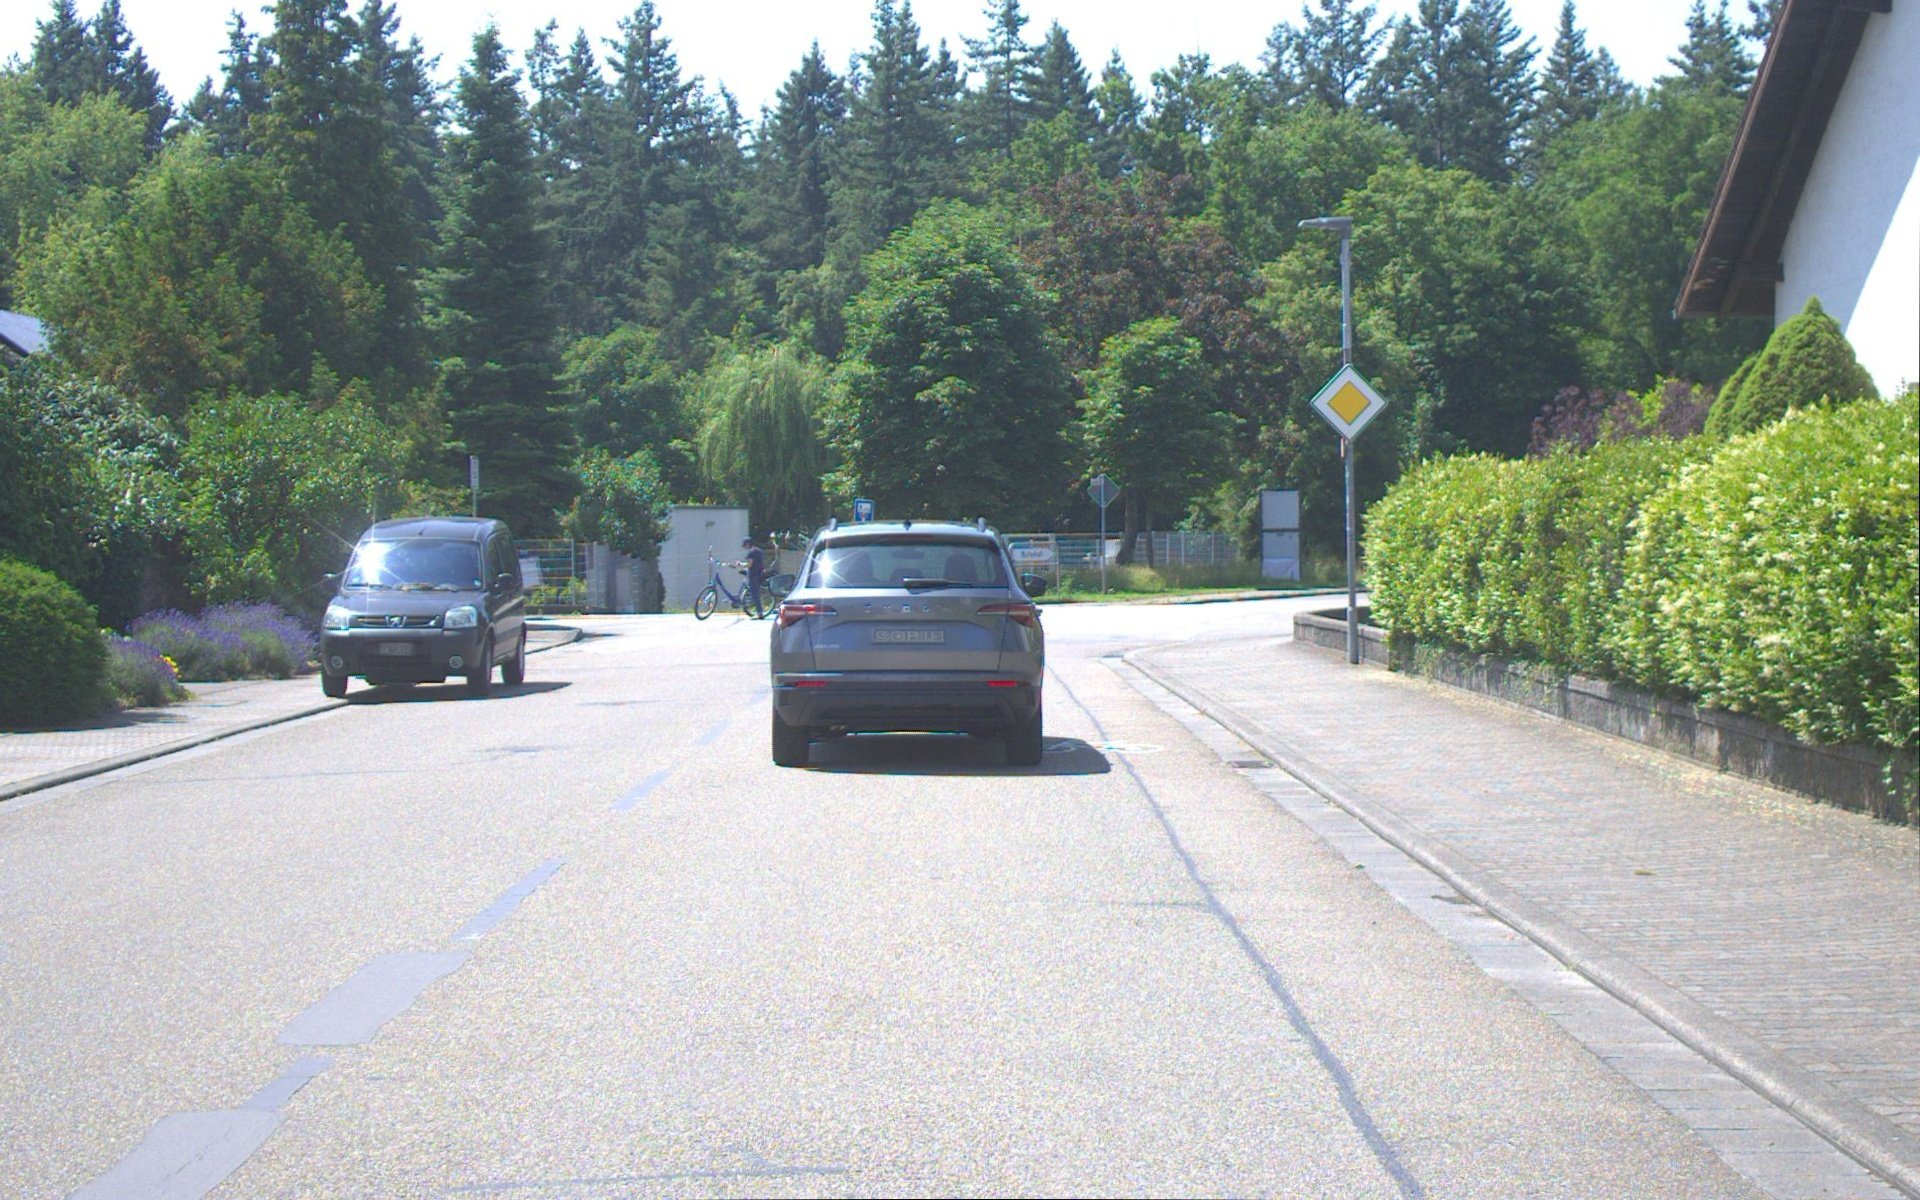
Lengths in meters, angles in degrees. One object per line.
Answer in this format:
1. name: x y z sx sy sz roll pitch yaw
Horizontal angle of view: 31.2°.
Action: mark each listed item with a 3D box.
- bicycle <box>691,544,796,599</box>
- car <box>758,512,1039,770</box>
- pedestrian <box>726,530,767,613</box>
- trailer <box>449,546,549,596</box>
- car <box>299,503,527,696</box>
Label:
1. bicycle: -3.974 -0.532 63.136 1.842 0.960 0.443 -2 1 -18
2. car: -0.422 0.217 23.620 1.762 1.612 4.000 0 1 -1
3. pedestrian: -3.903 -0.523 62.776 0.610 1.495 0.504 -1 1 -18
4. trailer: -10.463 -0.663 78.103 2.214 1.080 1.106 -1 1 -7
5. car: -5.552 -0.046 35.319 1.718 1.839 4.055 -1 1 -1
